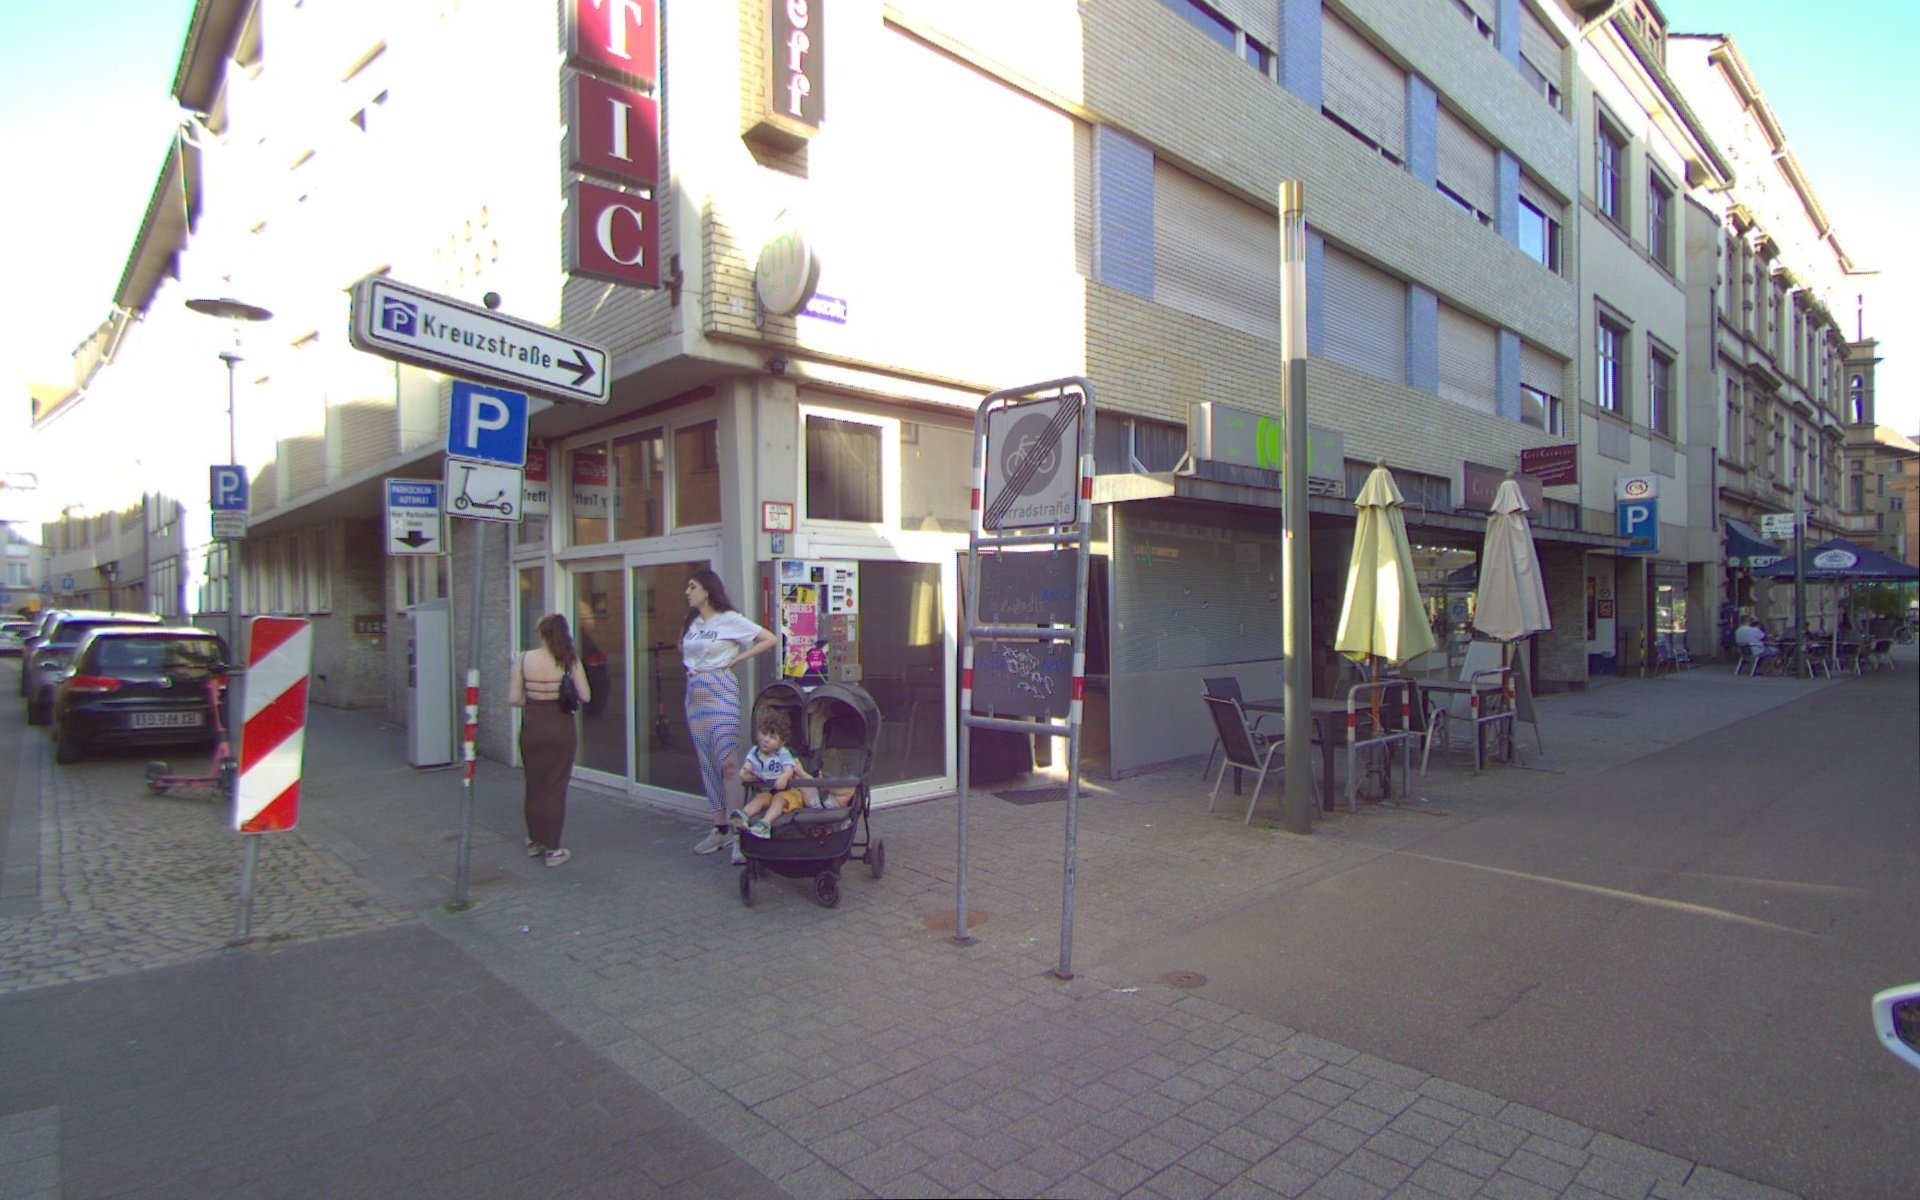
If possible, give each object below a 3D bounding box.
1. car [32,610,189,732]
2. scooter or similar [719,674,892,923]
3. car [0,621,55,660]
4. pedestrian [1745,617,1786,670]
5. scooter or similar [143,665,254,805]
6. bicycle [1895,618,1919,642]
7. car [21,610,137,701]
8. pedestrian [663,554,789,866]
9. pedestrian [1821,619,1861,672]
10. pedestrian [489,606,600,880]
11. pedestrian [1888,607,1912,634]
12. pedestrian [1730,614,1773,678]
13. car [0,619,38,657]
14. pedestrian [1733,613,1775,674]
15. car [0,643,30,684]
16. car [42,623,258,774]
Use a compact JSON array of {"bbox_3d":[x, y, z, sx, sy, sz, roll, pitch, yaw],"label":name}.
[{"bbox_3d":[-13.554,1.060,15.947,1.662,1.683,4.029,3,-3,-43],"label":"car"},{"bbox_3d":[-0.803,1.029,5.494,0.783,1.159,0.954,-1,0,0],"label":"scooter or similar"},{"bbox_3d":[-41.614,1.801,44.754,3.460,1.701,1.683,-2,-3,45],"label":"car"},{"bbox_3d":[19.555,1.049,24.377,0.756,1.249,0.827,-1,-1,40],"label":"pedestrian"},{"bbox_3d":[-6.724,1.186,8.873,0.864,1.199,0.208,-1,0,7],"label":"scooter or similar"},{"bbox_3d":[34.902,1.087,36.938,2.128,0.861,0.453,0,-1,-39],"label":"bicycle"},{"bbox_3d":[-18.614,1.143,21.169,1.662,1.726,3.962,3,-3,-43],"label":"car"},{"bbox_3d":[-1.477,0.656,6.359,0.648,1.844,0.569,-3,1,-13],"label":"pedestrian"},{"bbox_3d":[20.902,1.071,23.845,0.684,1.231,0.580,-1,-1,40],"label":"pedestrian"},{"bbox_3d":[-2.580,0.851,6.282,0.525,1.601,0.509,-3,1,-18],"label":"pedestrian"},{"bbox_3d":[44.347,0.966,47.369,0.713,1.234,0.695,0,-1,-37],"label":"pedestrian"},{"bbox_3d":[17.655,1.015,22.427,0.699,1.386,0.717,-1,-1,36],"label":"pedestrian"},{"bbox_3d":[-46.040,1.847,48.743,3.607,1.798,1.683,-2,-3,45],"label":"car"},{"bbox_3d":[18.305,0.994,23.163,0.708,1.386,0.708,-1,-1,36],"label":"pedestrian"},{"bbox_3d":[-50.179,3.264,52.352,3.940,2.040,1.991,-1,-3,40],"label":"car"},{"bbox_3d":[-9.866,1.060,12.136,1.729,1.505,3.763,3,-2,-43],"label":"car"}]
